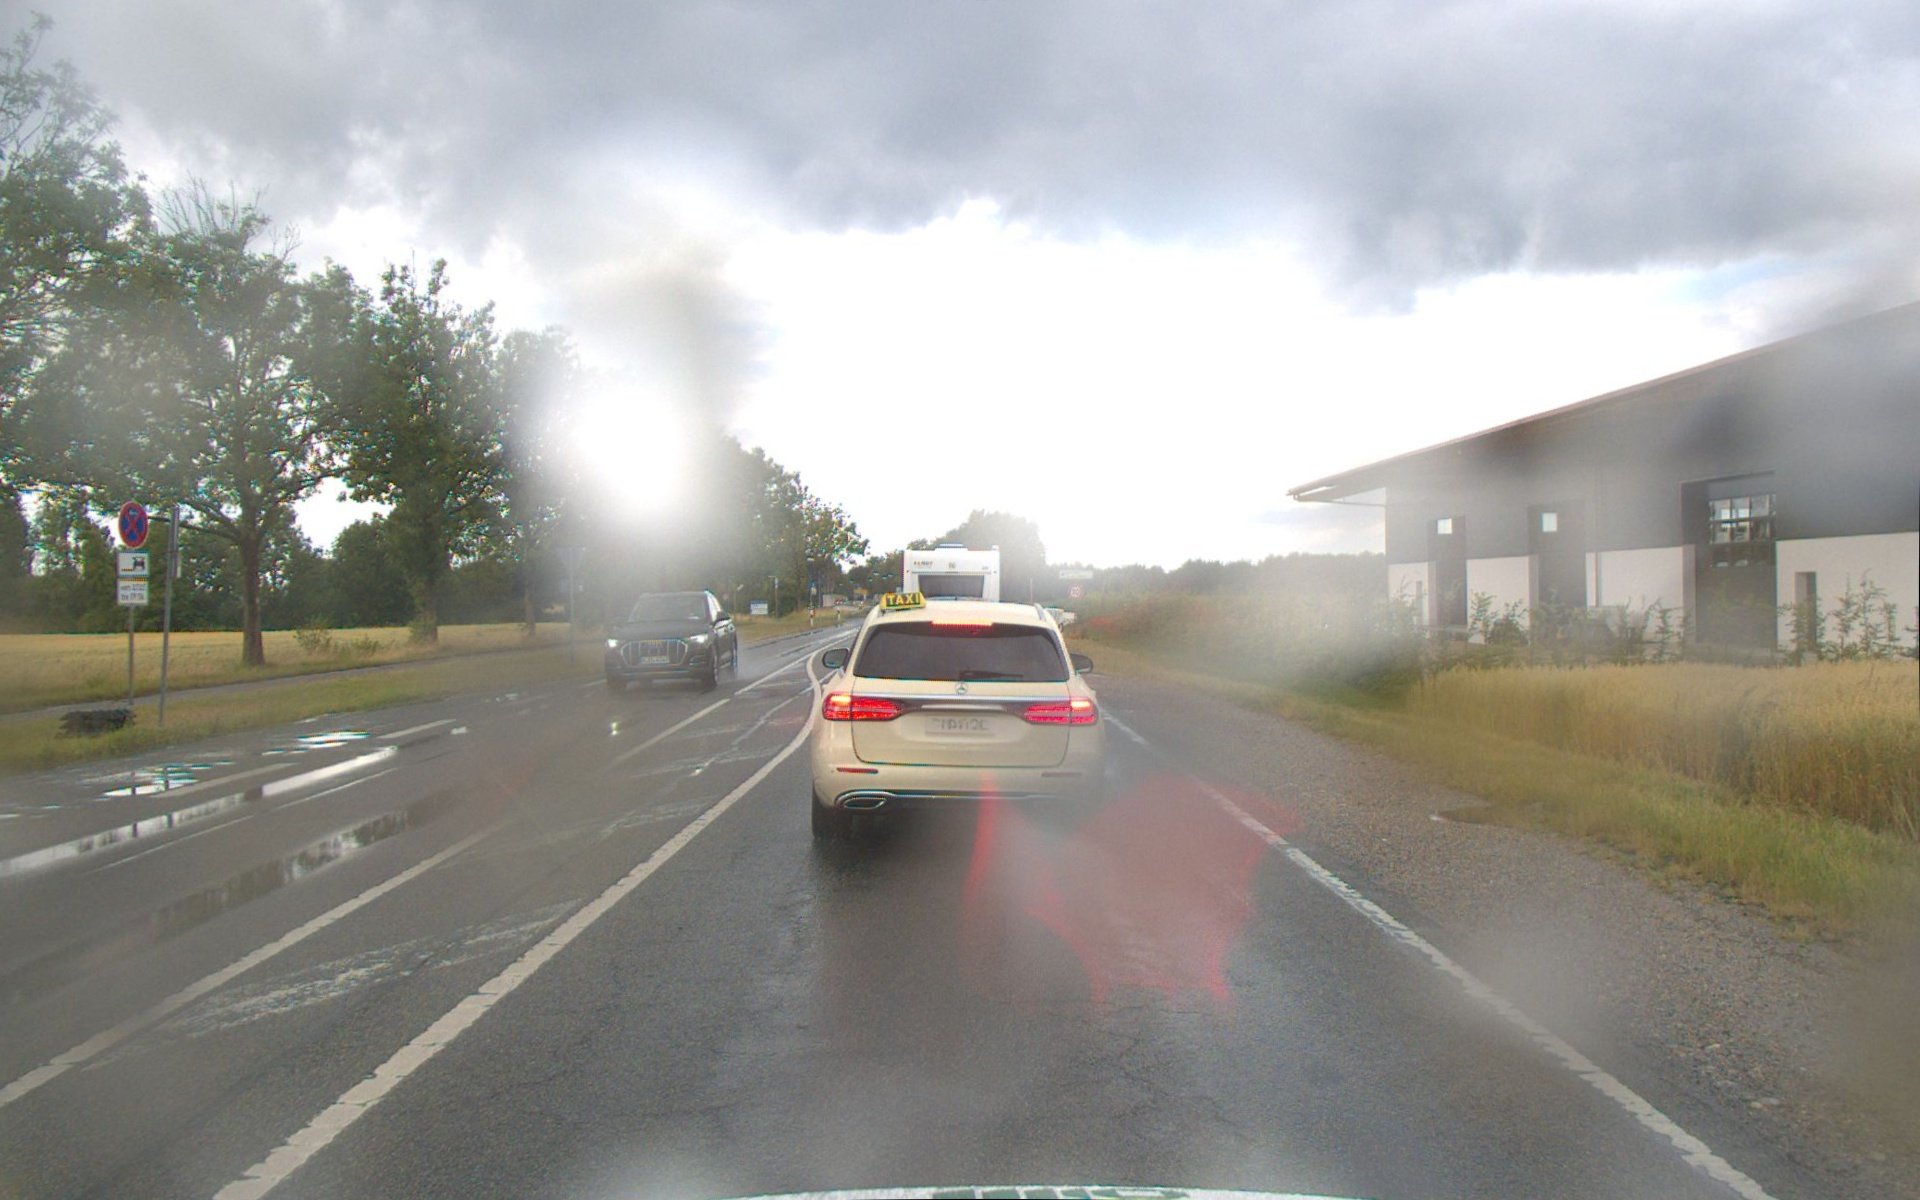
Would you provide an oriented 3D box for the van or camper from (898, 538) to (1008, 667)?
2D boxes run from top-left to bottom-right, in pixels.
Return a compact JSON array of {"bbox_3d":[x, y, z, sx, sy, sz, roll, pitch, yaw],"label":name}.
[{"bbox_3d":[-0.149,0.053,40.728,2.446,2.880,5.933,-2,0,0],"label":"van or camper"}]

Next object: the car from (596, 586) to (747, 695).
[{"bbox_3d":[-5.023,0.675,29.362,1.878,1.660,4.356,-4,0,-1],"label":"car"}]

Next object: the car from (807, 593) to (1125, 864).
[{"bbox_3d":[0.026,0.713,11.235,1.760,1.490,4.030,1,0,0],"label":"car"}]

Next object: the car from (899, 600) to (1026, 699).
[{"bbox_3d":[-0.012,0.728,26.323,1.856,1.454,3.926,0,0,-2],"label":"car"}]
